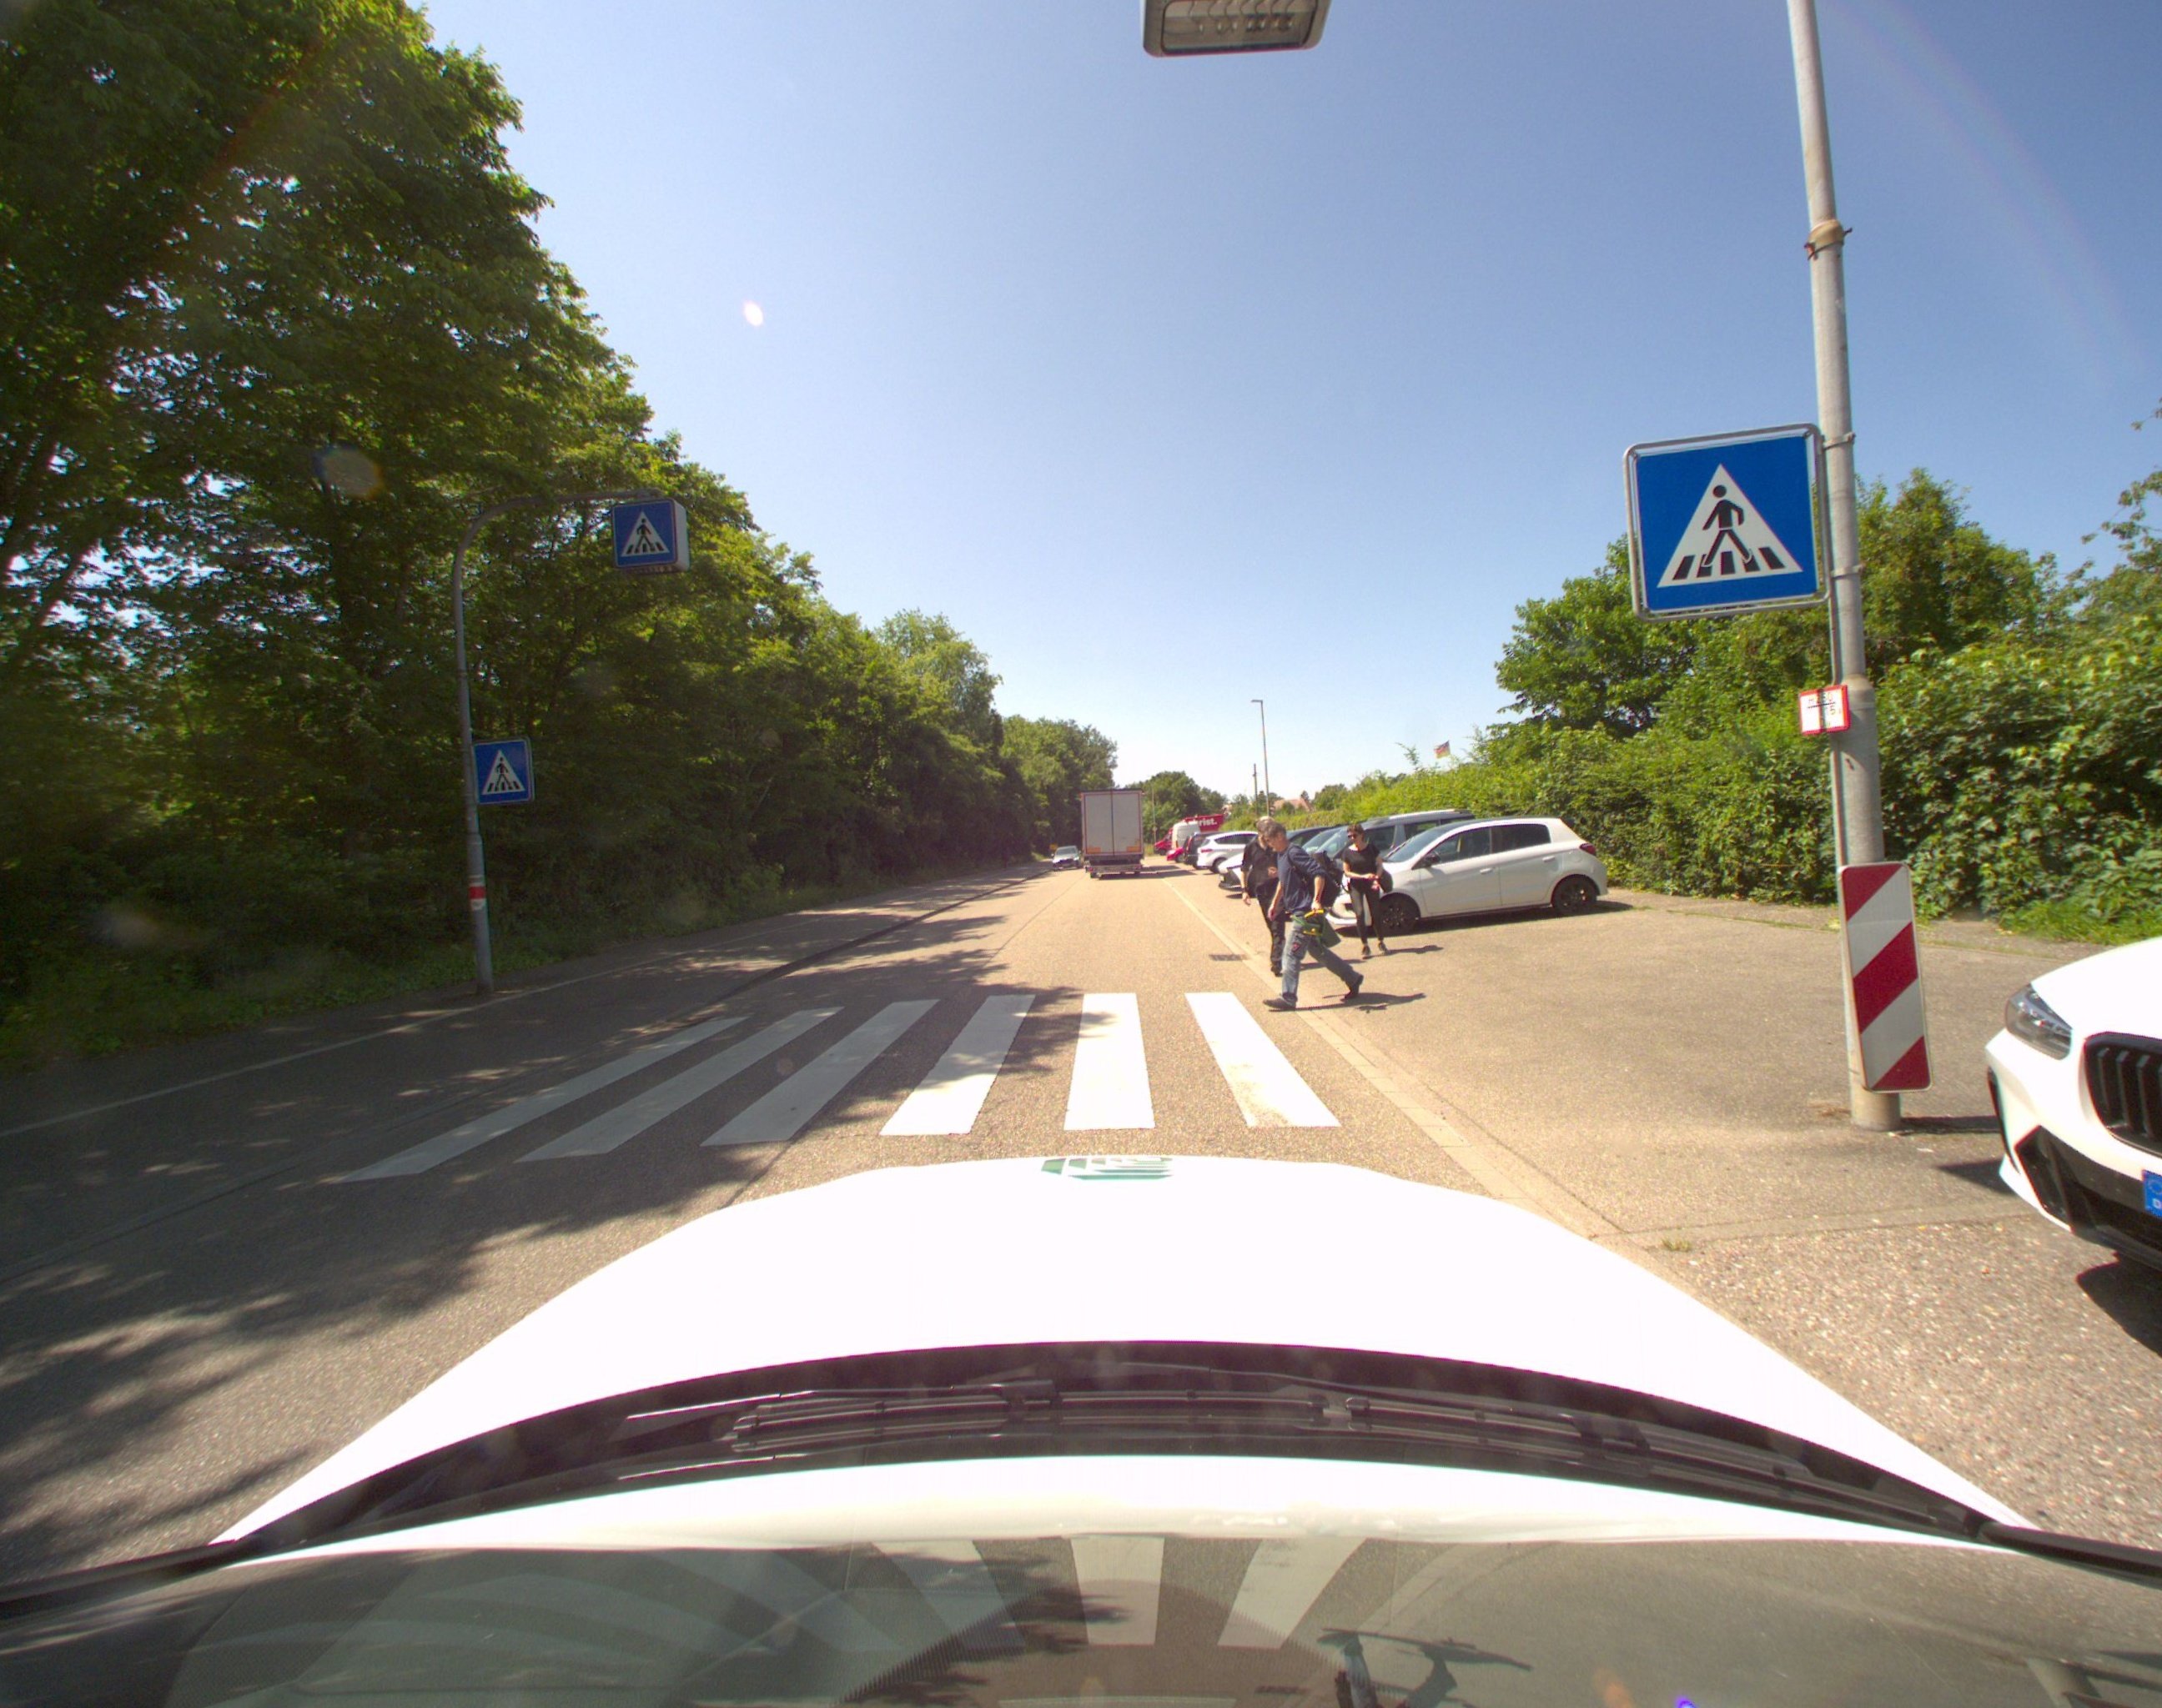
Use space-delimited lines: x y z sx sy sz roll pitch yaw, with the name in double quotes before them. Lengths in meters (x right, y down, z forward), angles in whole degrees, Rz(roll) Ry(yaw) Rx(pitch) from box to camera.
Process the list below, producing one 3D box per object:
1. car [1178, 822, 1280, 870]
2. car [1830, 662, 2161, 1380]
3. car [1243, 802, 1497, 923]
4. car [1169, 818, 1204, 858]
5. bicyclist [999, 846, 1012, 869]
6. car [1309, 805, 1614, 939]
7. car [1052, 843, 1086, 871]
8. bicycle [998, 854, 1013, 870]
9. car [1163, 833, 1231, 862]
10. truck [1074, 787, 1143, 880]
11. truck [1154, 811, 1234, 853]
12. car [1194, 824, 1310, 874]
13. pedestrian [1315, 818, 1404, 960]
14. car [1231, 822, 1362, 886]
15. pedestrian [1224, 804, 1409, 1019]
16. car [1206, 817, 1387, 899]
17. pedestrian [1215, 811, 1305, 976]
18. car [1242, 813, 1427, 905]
"car" 7.093 -0.385 39.402 4.441 1.804 1.951 -6 0 -2
"car" 4.759 0.220 1.736 4.436 1.729 1.852 -5 0 2
"car" 5.207 0.127 14.982 3.952 1.640 1.662 -7 1 -3
"car" 8.070 -1.266 62.808 1.946 2.733 7.175 -6 1 4
"bicyclist" -5.216 0.238 56.135 0.645 1.565 0.838 -3 1 6
"car" 5.466 0.241 12.080 3.671 1.450 1.613 -7 1 6
"car" -0.753 0.152 53.966 1.884 1.532 4.198 -7 1 1
"bicycle" -5.193 0.571 56.112 0.558 1.027 1.842 -3 1 7
"car" 7.401 -0.410 52.270 4.042 1.434 1.835 -6 1 -1
"truck" 1.546 -0.953 40.483 2.722 3.745 13.258 -2 1 3
"truck" 10.693 -2.074 76.798 7.087 3.439 2.339 -3 1 13
"car" 6.893 -0.217 33.193 4.262 1.578 1.765 -6 1 0
"pedestrian" 3.408 0.406 9.916 0.771 1.611 0.902 -6 -1 25
"car" 6.211 -0.029 23.750 3.371 1.503 1.590 -5 1 5
"pedestrian" 2.158 0.486 7.574 1.158 1.751 1.017 -5 0 -19
"car" 5.414 0.080 20.775 3.955 1.522 1.862 -7 1 -4
"pedestrian" 2.182 0.436 9.841 0.774 1.864 1.093 -1 1 25
"car" 5.501 0.096 17.902 3.445 1.527 1.538 -7 1 -3
